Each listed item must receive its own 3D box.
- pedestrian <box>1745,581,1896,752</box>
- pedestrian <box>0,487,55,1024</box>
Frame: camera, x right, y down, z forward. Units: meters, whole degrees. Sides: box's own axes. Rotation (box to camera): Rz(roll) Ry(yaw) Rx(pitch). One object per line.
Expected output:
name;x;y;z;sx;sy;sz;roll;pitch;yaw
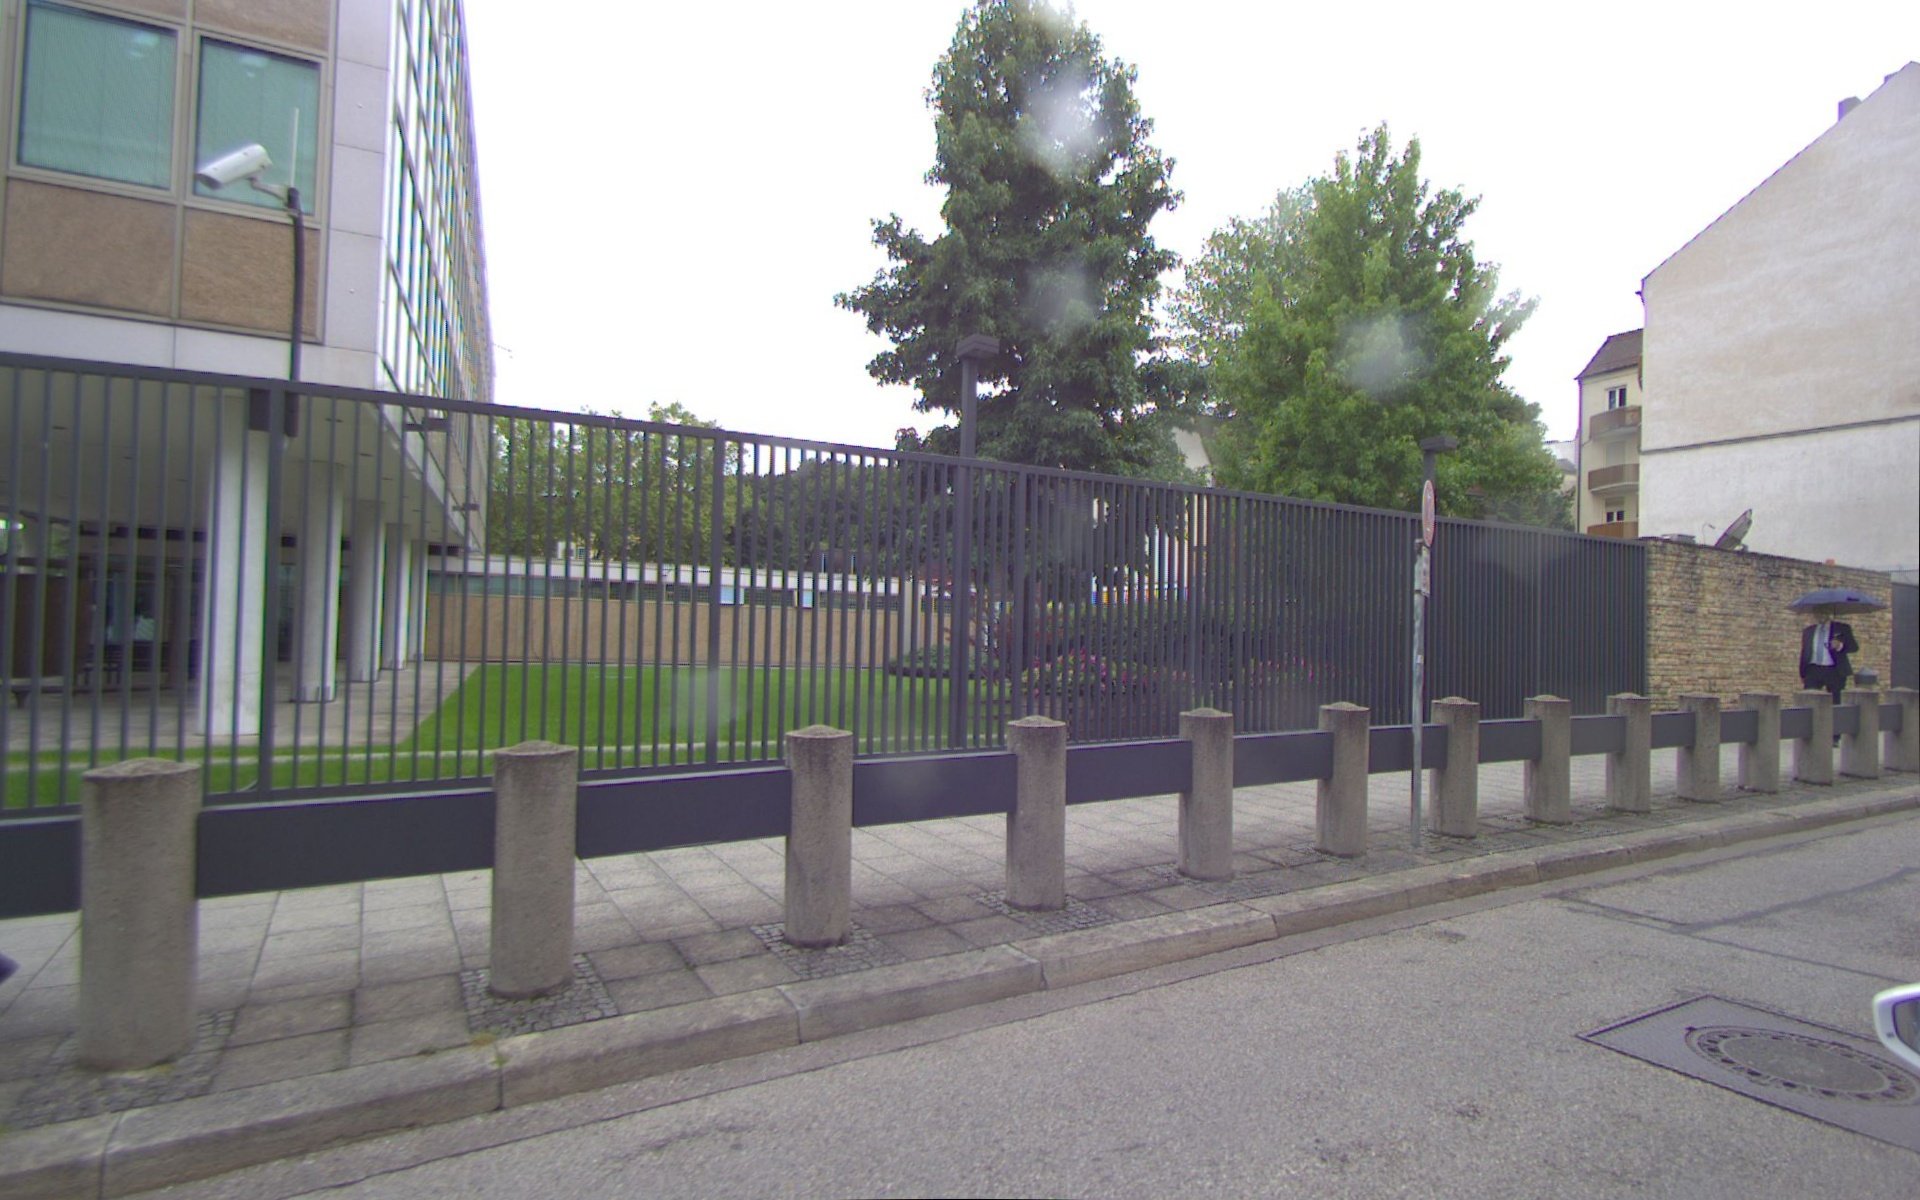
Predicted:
pedestrian;11.397;0.846;13.324;1.103;2.132;1.218;1;-1;-28
pedestrian;-3.624;0.521;3.344;0.758;1.792;0.621;1;-1;-31
